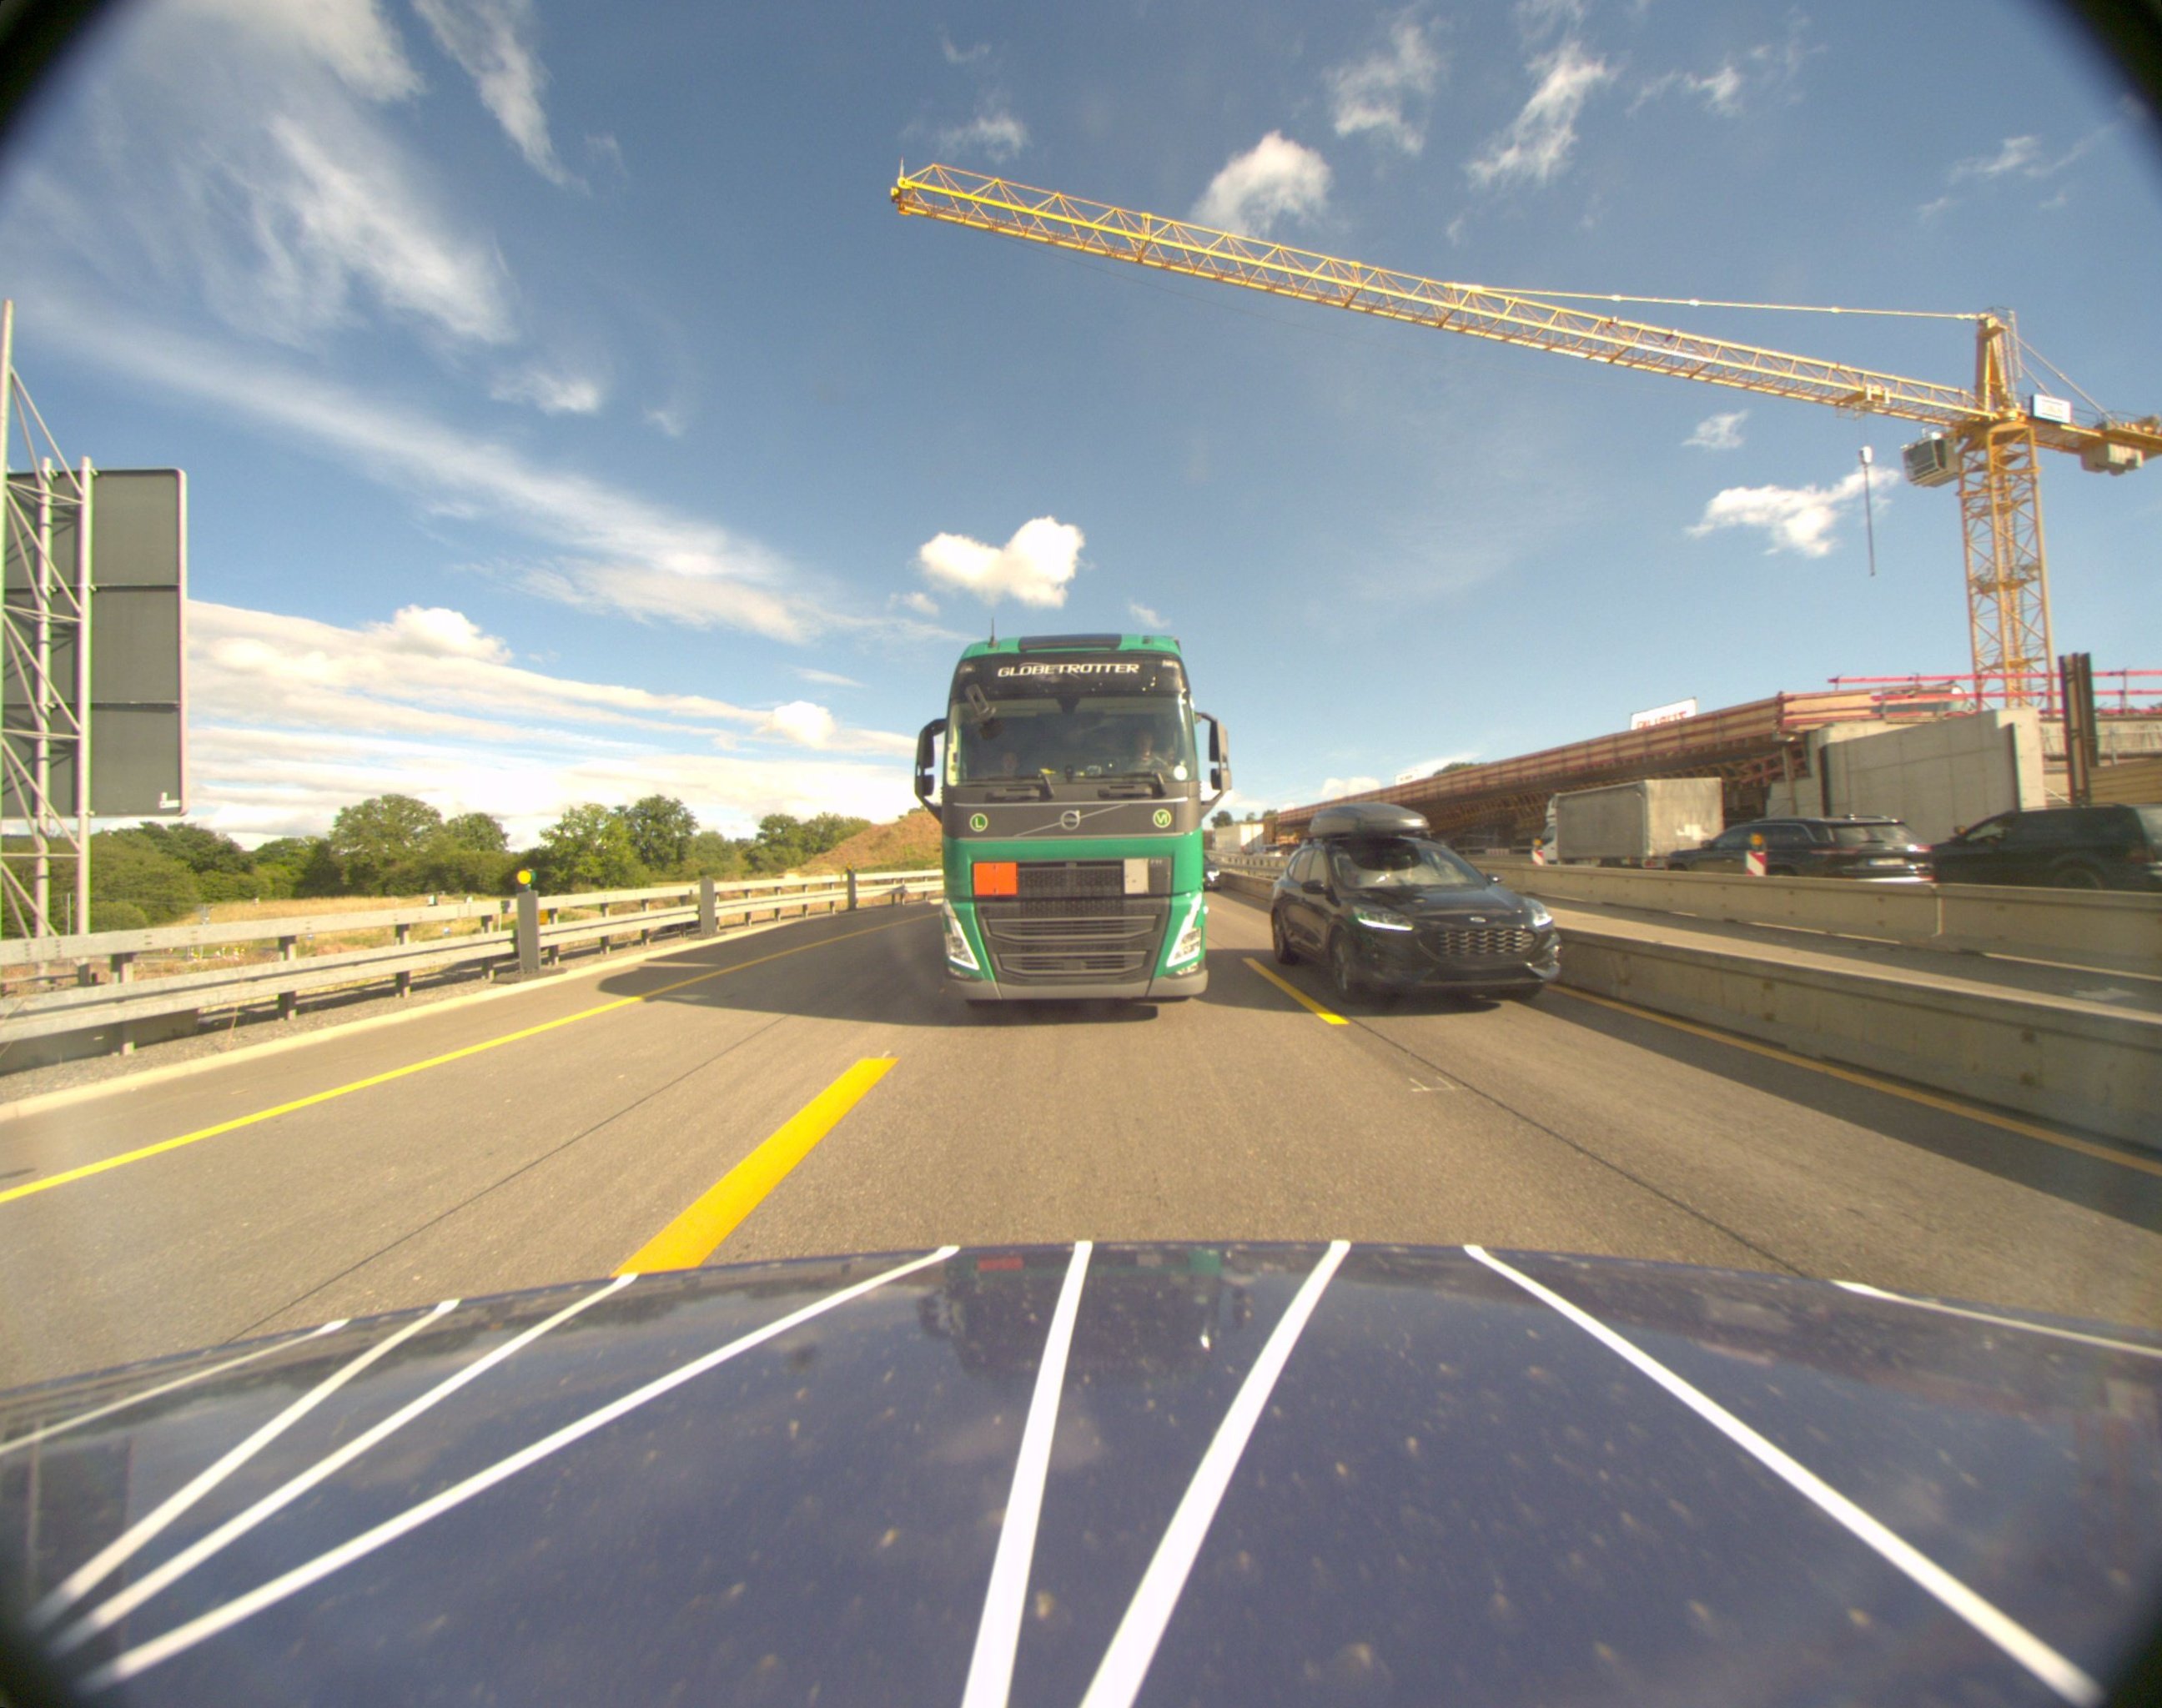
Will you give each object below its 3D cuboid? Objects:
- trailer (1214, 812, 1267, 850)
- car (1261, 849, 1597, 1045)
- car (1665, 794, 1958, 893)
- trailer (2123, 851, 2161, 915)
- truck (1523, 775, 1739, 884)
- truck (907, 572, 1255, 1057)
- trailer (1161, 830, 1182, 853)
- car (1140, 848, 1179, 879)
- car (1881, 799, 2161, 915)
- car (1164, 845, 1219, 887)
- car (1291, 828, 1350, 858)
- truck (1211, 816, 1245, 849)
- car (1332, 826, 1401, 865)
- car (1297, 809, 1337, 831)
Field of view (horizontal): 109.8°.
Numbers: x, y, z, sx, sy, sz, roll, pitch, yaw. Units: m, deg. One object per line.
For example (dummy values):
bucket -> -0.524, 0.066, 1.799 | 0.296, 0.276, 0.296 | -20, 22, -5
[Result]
trailer -> 18.071, -2.559, 87.262 | 2.828, 3.819, 13.798 | -2, 1, -1
car -> 3.366, 0.764, 8.419 | 1.804, 1.533, 4.385 | -3, 0, 2
car -> 14.246, -0.179, 15.318 | 1.856, 1.626, 4.752 | -2, 0, 9
trailer -> 16.453, 0.469, 6.486 | 2.356, 0.934, 10.335 | -2, 0, 10
truck -> 19.368, -0.837, 27.514 | 2.707, 3.293, 7.537 | -2, 1, 4
truck -> -0.043, -0.413, 11.325 | 2.664, 3.825, 10.314 | -2, 1, -1
trailer -> 17.614, -2.544, 148.461 | 2.694, 4.132, 13.810 | -2, 1, 2
car -> 4.523, 0.509, 44.386 | 1.806, 1.555, 4.561 | -2, 1, 0
car -> 17.664, 0.004, 13.821 | 1.997, 1.793, 4.448 | -2, 0, 10
car -> 4.446, 0.427, 31.161 | 1.948, 1.422, 4.505 | -2, 2, 5
car -> 15.753, -0.699, 50.255 | 2.131, 1.755, 5.030 | -3, 0, -1
truck -> 17.922, -2.638, 93.098 | 2.784, 3.767, 6.016 | -2, 1, -1
car -> 19.065, -0.588, 51.051 | 2.264, 2.389, 5.865 | -2, 1, -1
car -> 21.220, -3.040, 68.542 | 2.131, 1.664, 4.271 | -3, 0, -1
